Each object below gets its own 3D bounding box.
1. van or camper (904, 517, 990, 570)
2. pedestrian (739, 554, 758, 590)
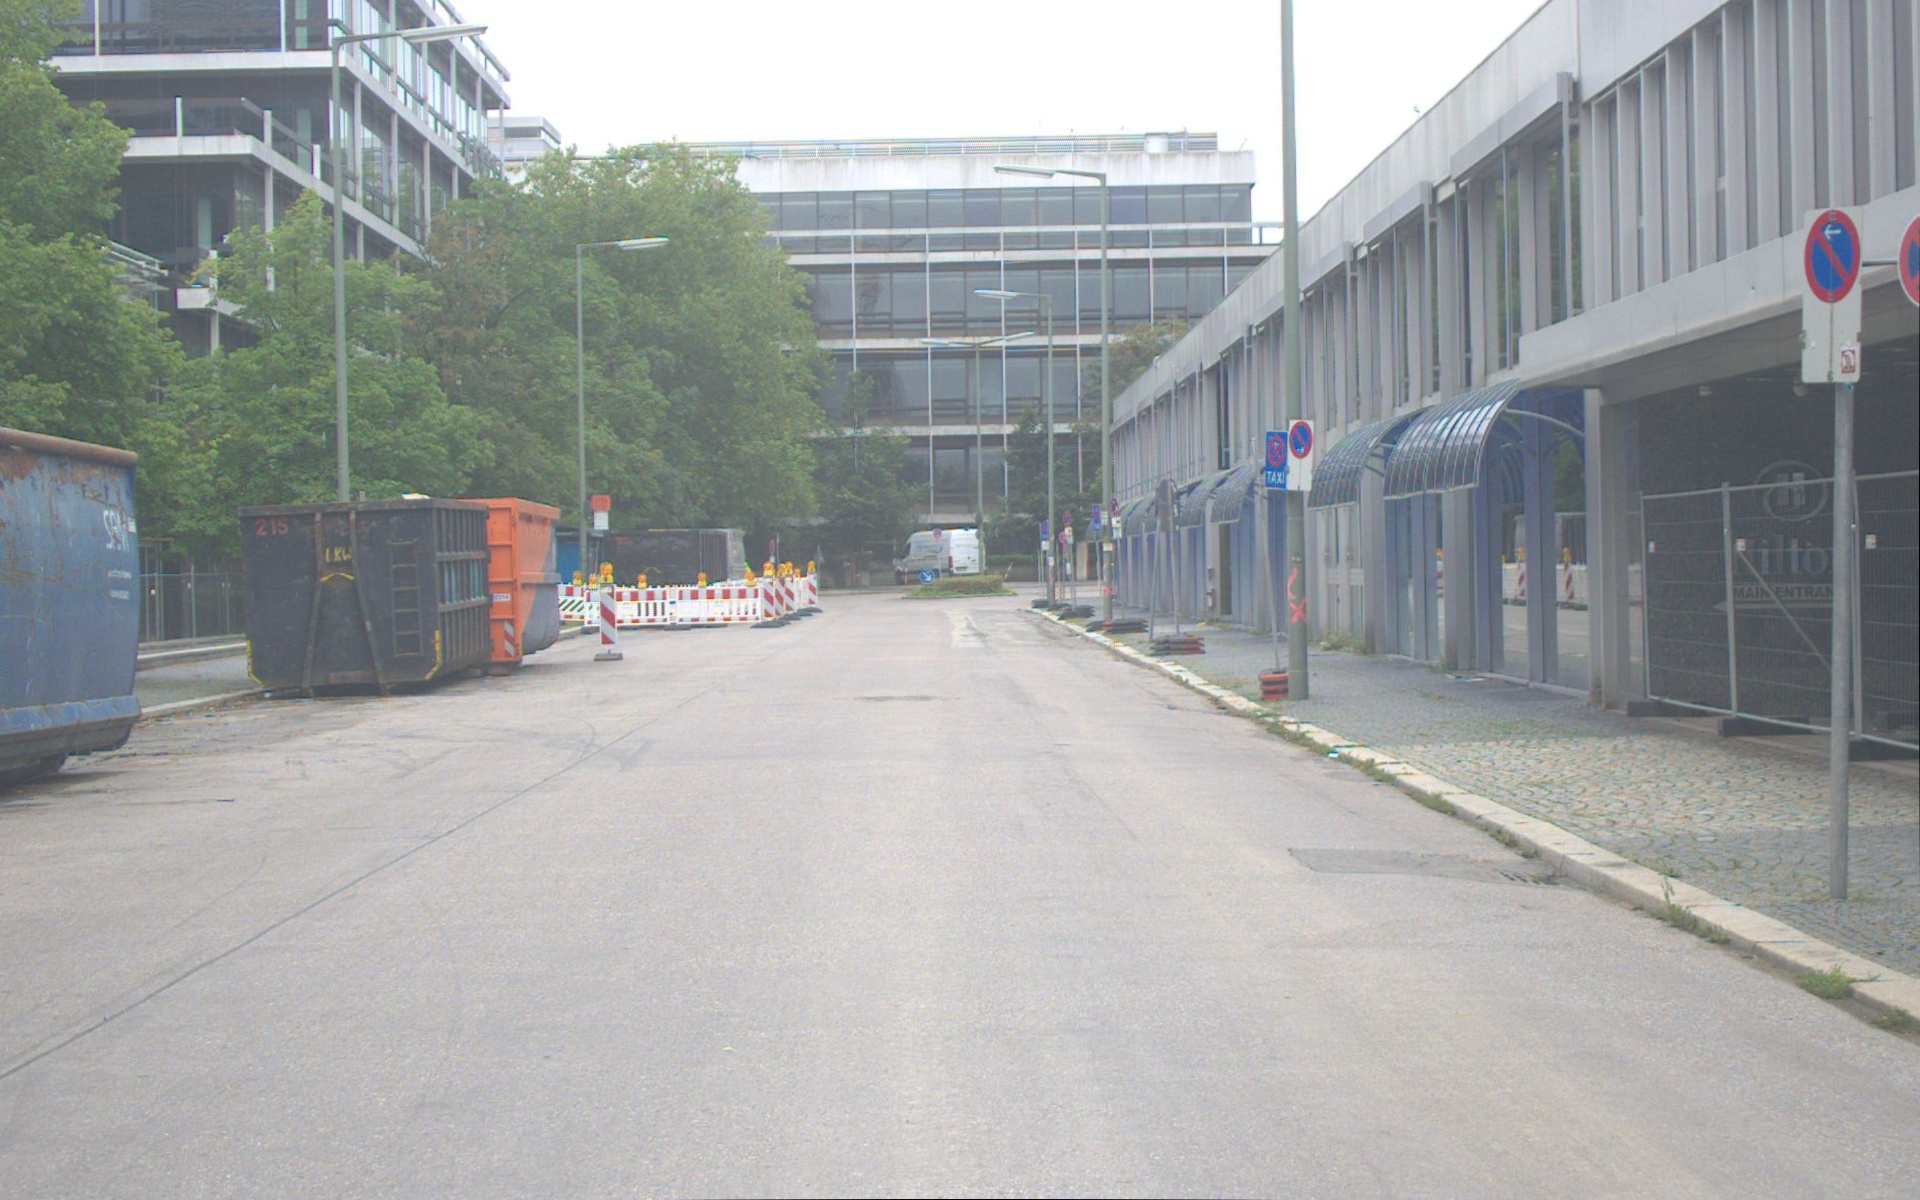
[{"bbox_3d":[-0.644,-2.709,164.264,2.085,2.483,5.068,-1,1,-26],"label":"van or camper"},{"bbox_3d":[-10.022,-1.332,163.094,0.741,1.671,0.682,-1,1,-20],"label":"pedestrian"}]
